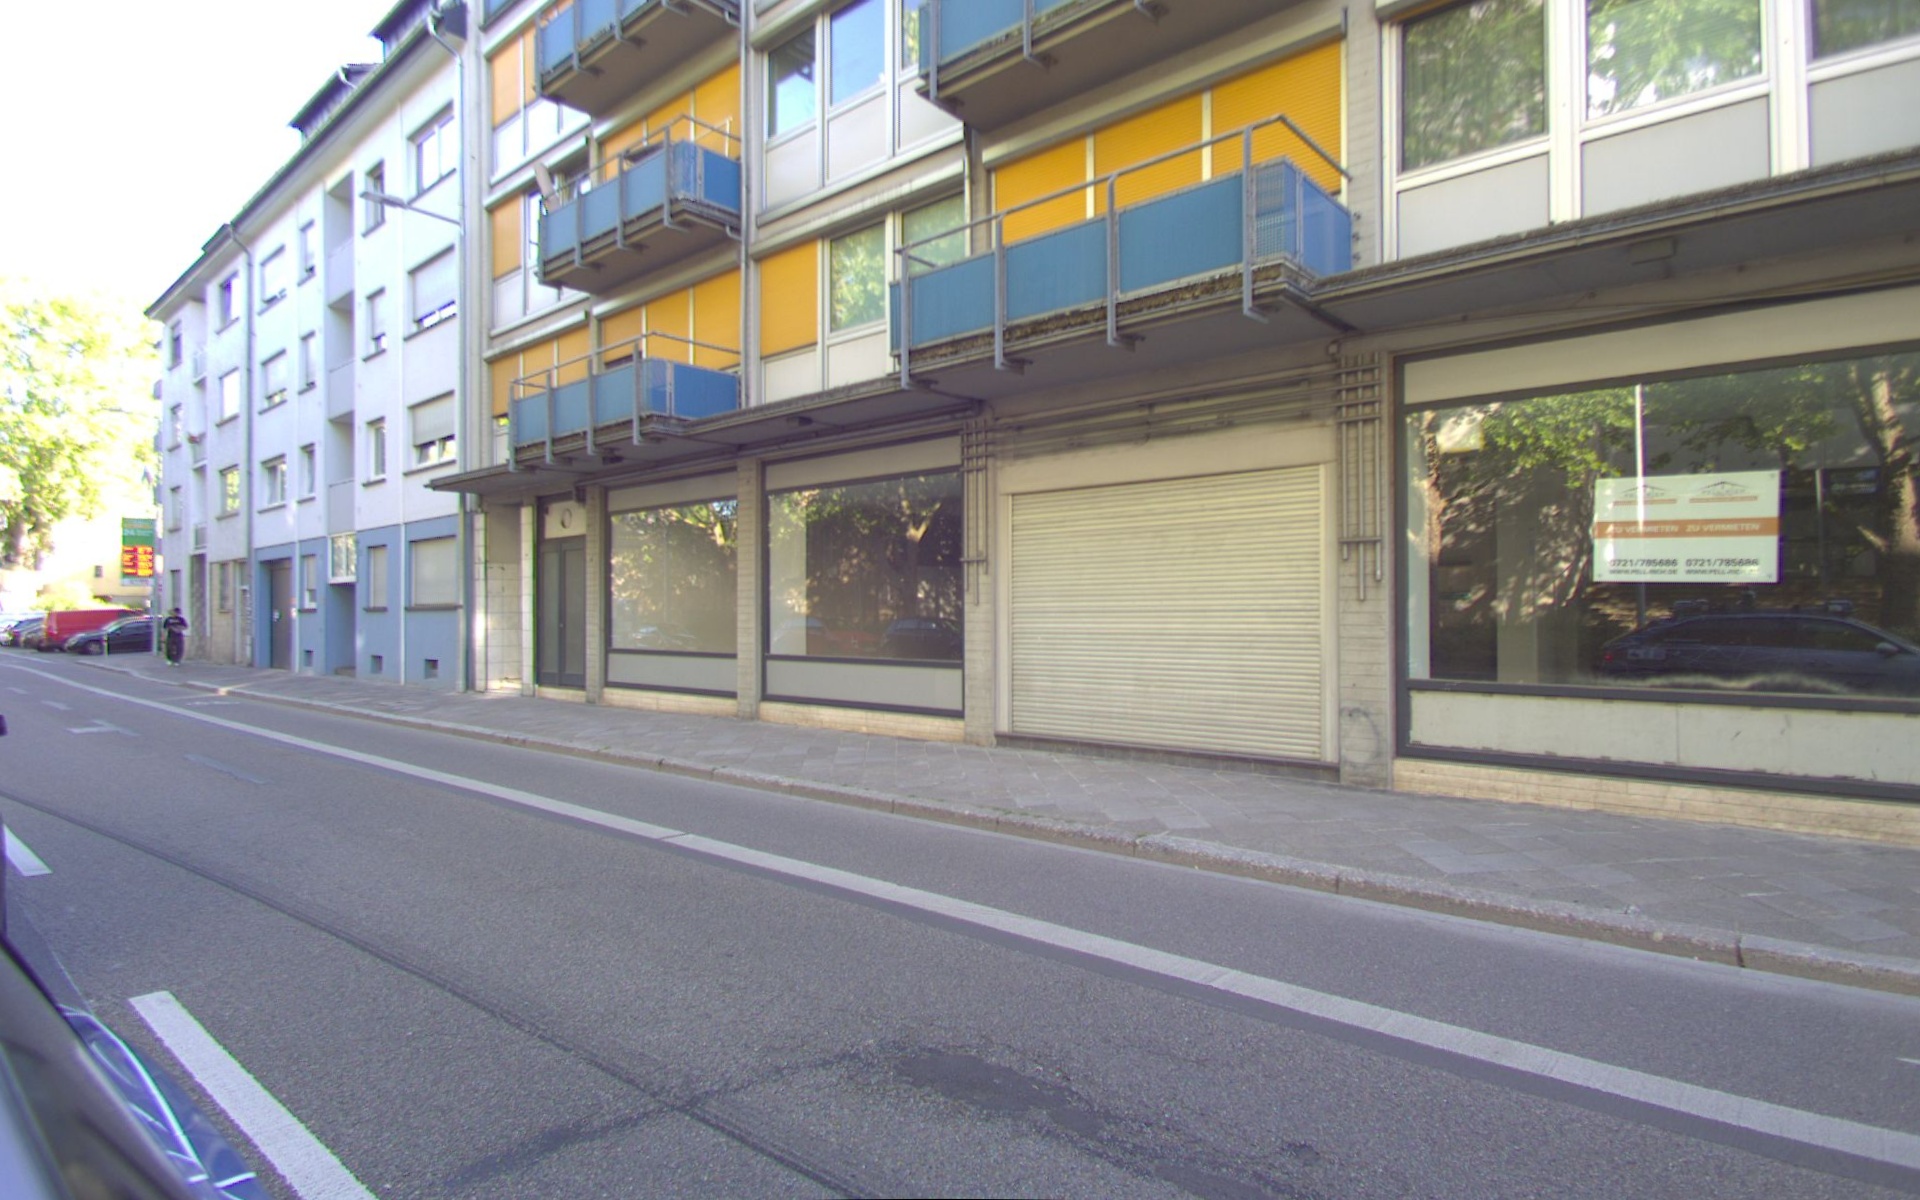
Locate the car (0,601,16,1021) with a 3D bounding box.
[{"bbox_3d":[-5.644,0.794,4.404,4.300,1.510,1.826,-1,-1,41],"label":"car"}]

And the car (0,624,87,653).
[{"bbox_3d":[-54.498,2.269,59.789,1.652,1.480,4.201,-1,1,41],"label":"car"}]

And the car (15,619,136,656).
[{"bbox_3d":[-42.758,1.781,49.014,1.652,1.480,4.201,-1,1,41],"label":"car"}]

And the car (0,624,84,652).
[{"bbox_3d":[-55.880,2.289,61.197,1.652,1.480,4.201,-1,1,41],"label":"car"}]

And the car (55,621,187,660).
[{"bbox_3d":[-36.495,1.735,44.093,1.652,1.411,4.201,-1,1,41],"label":"car"}]

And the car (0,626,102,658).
[{"bbox_3d":[-50.465,2.283,56.105,1.652,1.480,4.201,-1,1,41],"label":"car"}]

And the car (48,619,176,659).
[{"bbox_3d":[-38.188,1.722,45.656,1.652,1.480,4.201,-1,1,41],"label":"car"}]

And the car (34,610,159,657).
[{"bbox_3d":[-40.570,1.550,47.618,1.817,1.933,4.202,-1,1,40],"label":"car"}]

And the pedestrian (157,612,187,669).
[{"bbox_3d":[-23.769,1.218,30.527,0.655,1.708,0.604,-2,-1,41],"label":"pedestrian"}]
